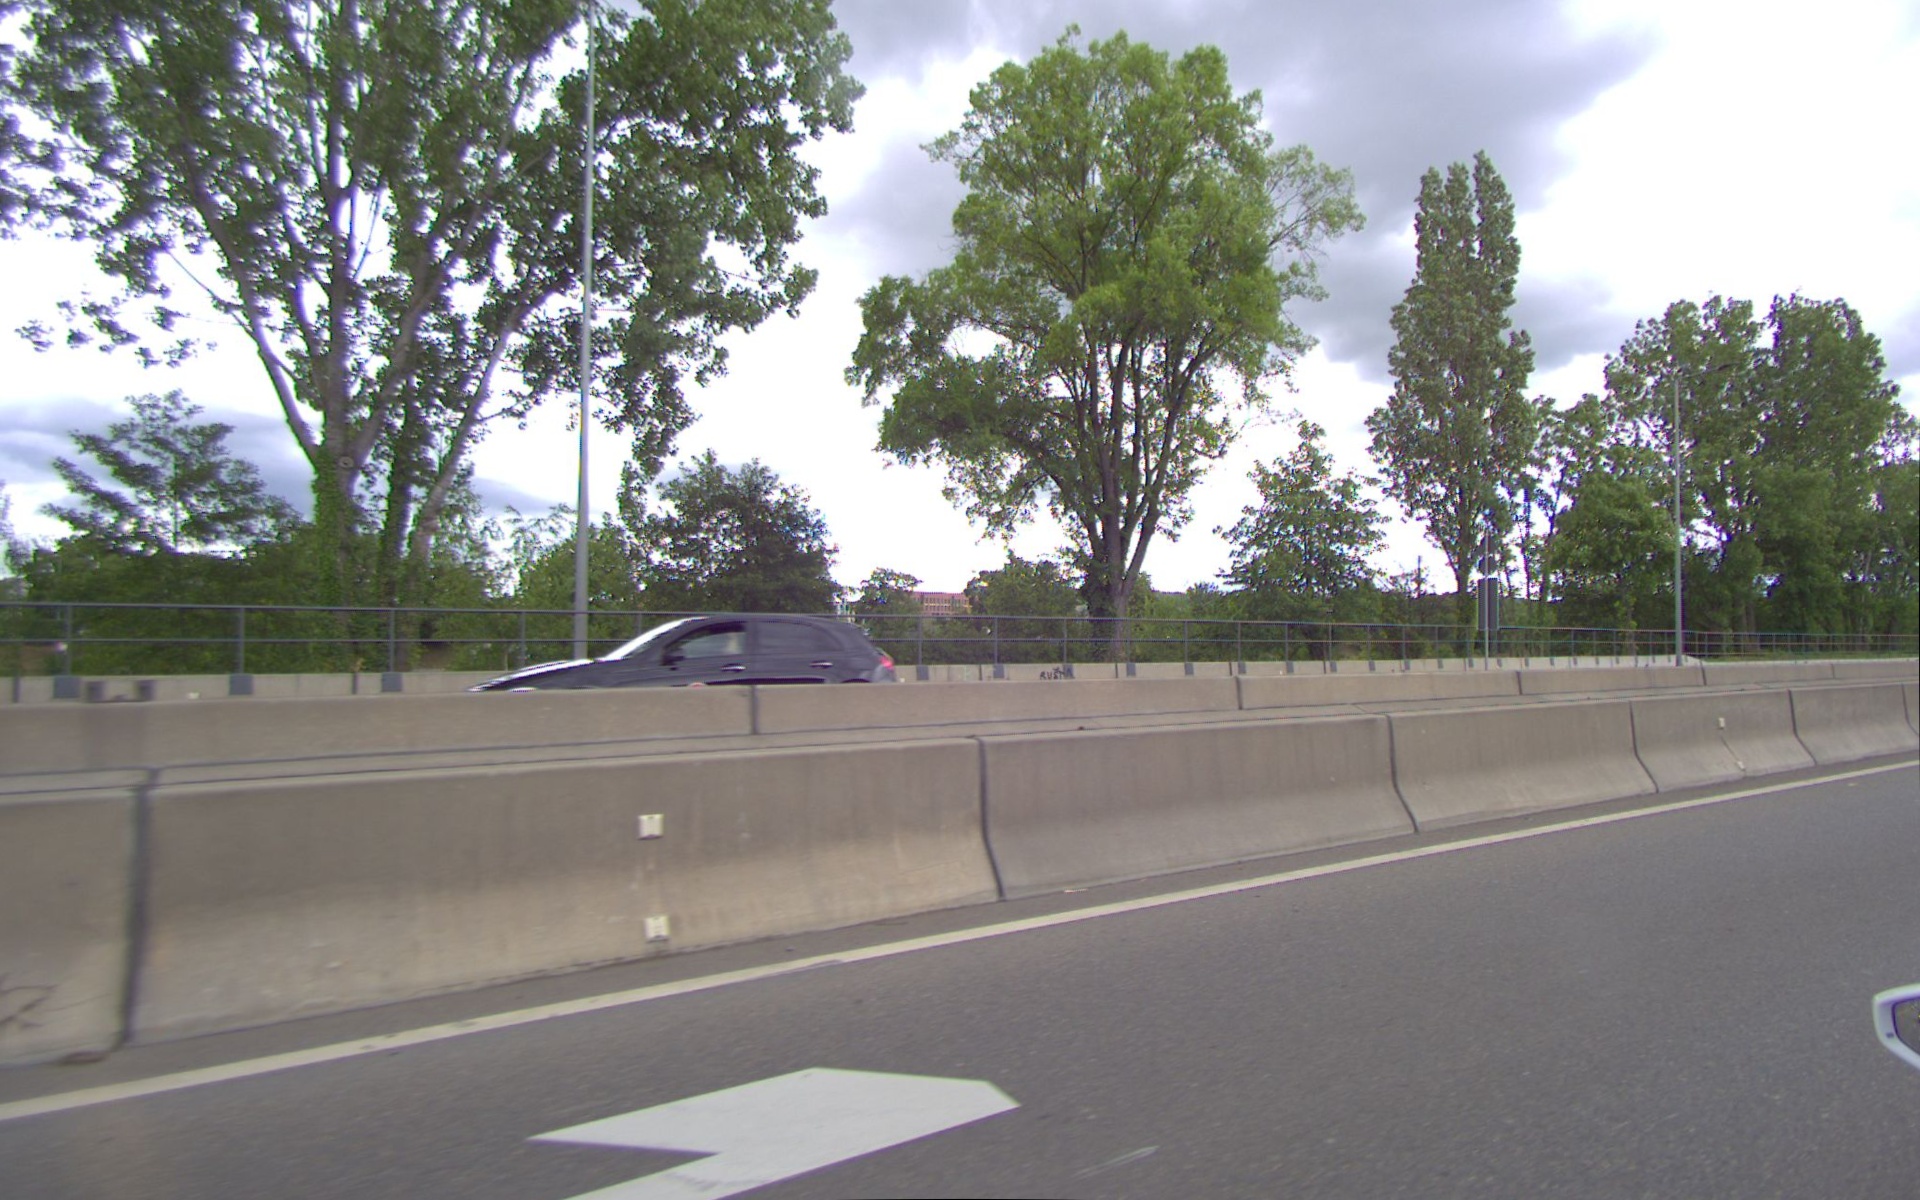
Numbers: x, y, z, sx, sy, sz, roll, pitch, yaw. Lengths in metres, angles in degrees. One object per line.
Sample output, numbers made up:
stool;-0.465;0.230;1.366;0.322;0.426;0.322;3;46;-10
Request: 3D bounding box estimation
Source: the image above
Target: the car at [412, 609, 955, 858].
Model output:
car;-2.775;1.136;10.337;4.944;1.951;2.317;2;0;-31
